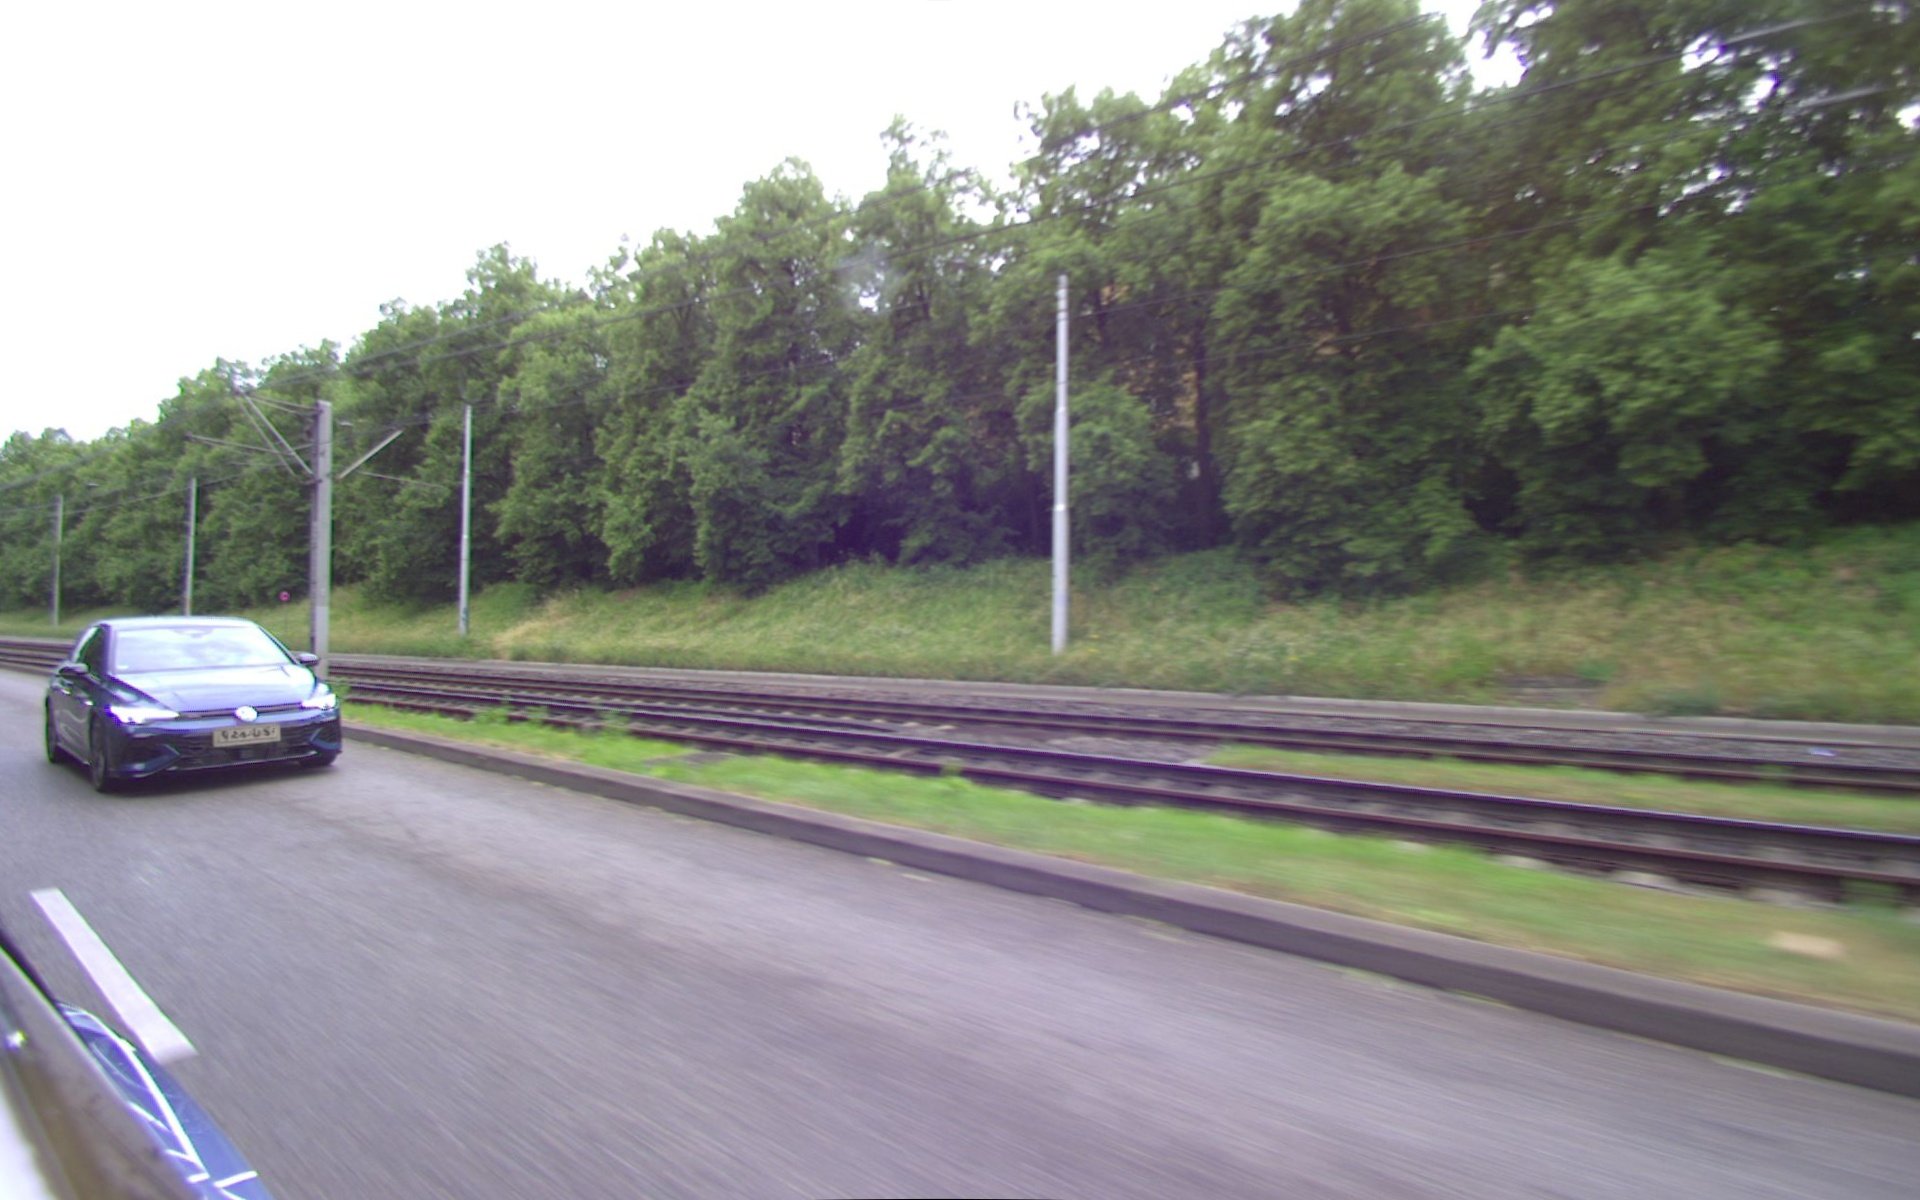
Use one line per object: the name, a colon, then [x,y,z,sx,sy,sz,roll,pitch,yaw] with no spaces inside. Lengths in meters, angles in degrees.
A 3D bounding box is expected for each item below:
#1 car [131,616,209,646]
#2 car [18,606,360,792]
car: [-43.418,1.718,55.586,4.418,1.442,1.977,-1,-7,34]
car: [-7.630,0.782,9.855,4.344,1.389,1.789,-1,0,41]
